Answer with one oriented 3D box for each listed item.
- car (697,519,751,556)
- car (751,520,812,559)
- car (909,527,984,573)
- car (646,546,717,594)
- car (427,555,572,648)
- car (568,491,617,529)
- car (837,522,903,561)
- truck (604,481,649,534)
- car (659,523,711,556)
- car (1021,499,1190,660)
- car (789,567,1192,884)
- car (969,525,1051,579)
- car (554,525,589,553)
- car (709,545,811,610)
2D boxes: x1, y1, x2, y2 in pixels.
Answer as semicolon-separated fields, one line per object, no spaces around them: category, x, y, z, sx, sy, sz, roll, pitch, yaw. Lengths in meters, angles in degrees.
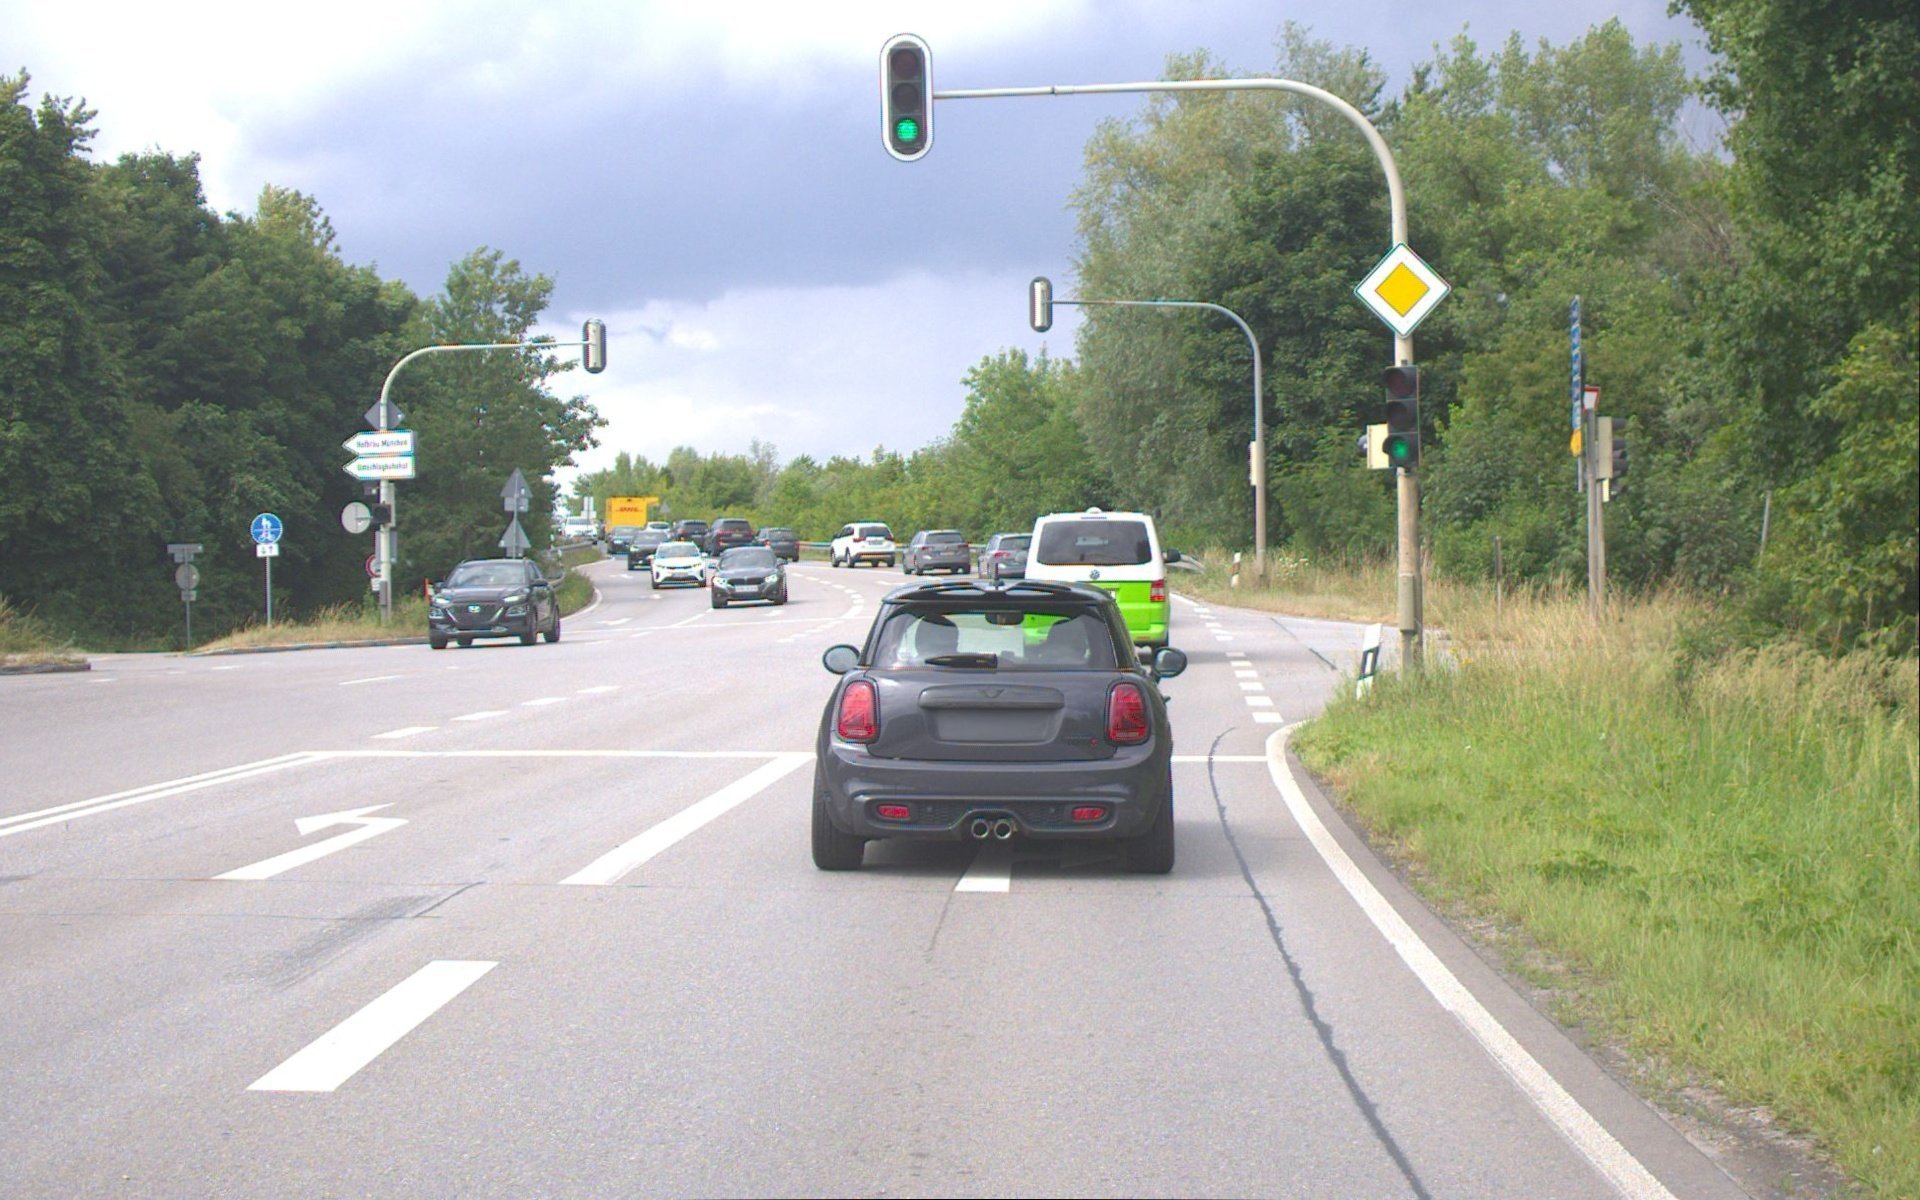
car;-11.248;-2.958;163.659;1.993;1.690;4.487;0;1;-12
car;-7.773;-2.612;149.385;1.993;1.690;4.487;0;1;-12
car;-0.464;-1.635;113.587;1.993;1.471;4.486;0;1;-6
car;-9.113;-0.990;112.913;1.729;1.499;4.346;-1;1;3
car;-8.068;0.000;60.558;1.791;1.568;4.000;0;1;3
car;-16.763;-4.119;156.746;1.993;1.684;4.001;-1;2;-9
car;-3.450;-2.211;131.048;1.993;1.471;4.487;0;1;-9
truck;-21.066;-5.812;216.974;2.716;2.888;8.772;0;-1;-6
car;-14.416;-3.171;179.941;1.993;1.690;4.487;0;1;-14
car;1.947;-0.319;44.973;1.845;1.980;3.840;0;2;8
car;0.146;0.562;17.762;1.845;1.423;3.841;1;1;0
car;1.363;-1.332;95.783;1.993;1.471;4.486;0;1;-3
car;-23.155;-3.652;204.811;1.993;1.607;4.001;-1;2;-7
car;-5.082;-0.597;88.014;1.788;1.525;4.902;-3;1;6
